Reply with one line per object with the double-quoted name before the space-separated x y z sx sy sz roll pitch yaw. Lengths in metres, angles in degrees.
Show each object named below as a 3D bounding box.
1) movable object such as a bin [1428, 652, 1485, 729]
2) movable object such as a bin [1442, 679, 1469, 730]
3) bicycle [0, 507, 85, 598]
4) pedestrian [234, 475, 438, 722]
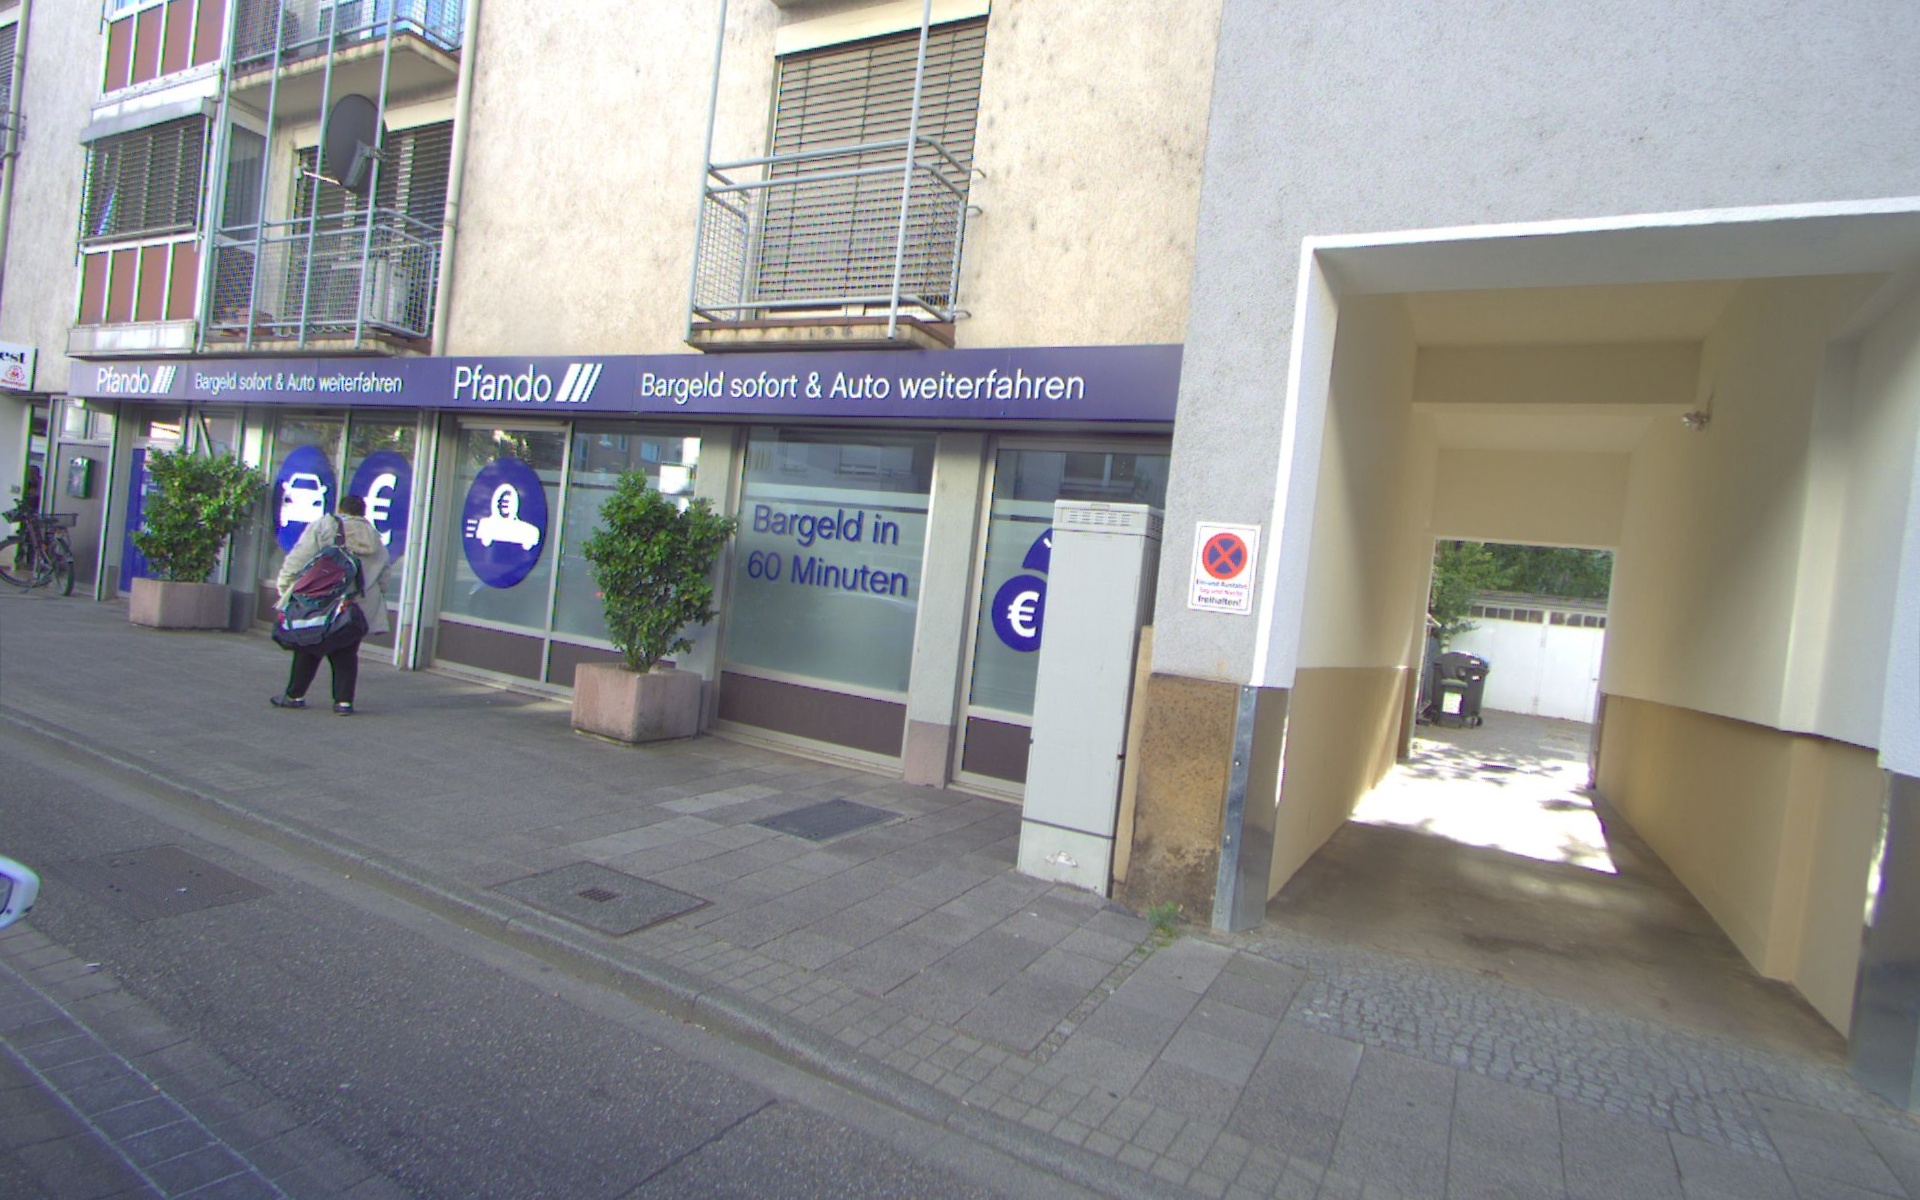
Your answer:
"movable object such as a bin" 9.927 1.790 20.114 0.873 1.411 0.758 7 2 28
"movable object such as a bin" 9.596 2.016 19.482 0.365 0.920 0.420 7 2 28
"bicycle" -11.882 -0.627 12.816 1.678 1.010 0.543 6 -1 32
"pedestrian" -4.408 0.005 7.135 0.738 1.611 0.827 6 -1 31
